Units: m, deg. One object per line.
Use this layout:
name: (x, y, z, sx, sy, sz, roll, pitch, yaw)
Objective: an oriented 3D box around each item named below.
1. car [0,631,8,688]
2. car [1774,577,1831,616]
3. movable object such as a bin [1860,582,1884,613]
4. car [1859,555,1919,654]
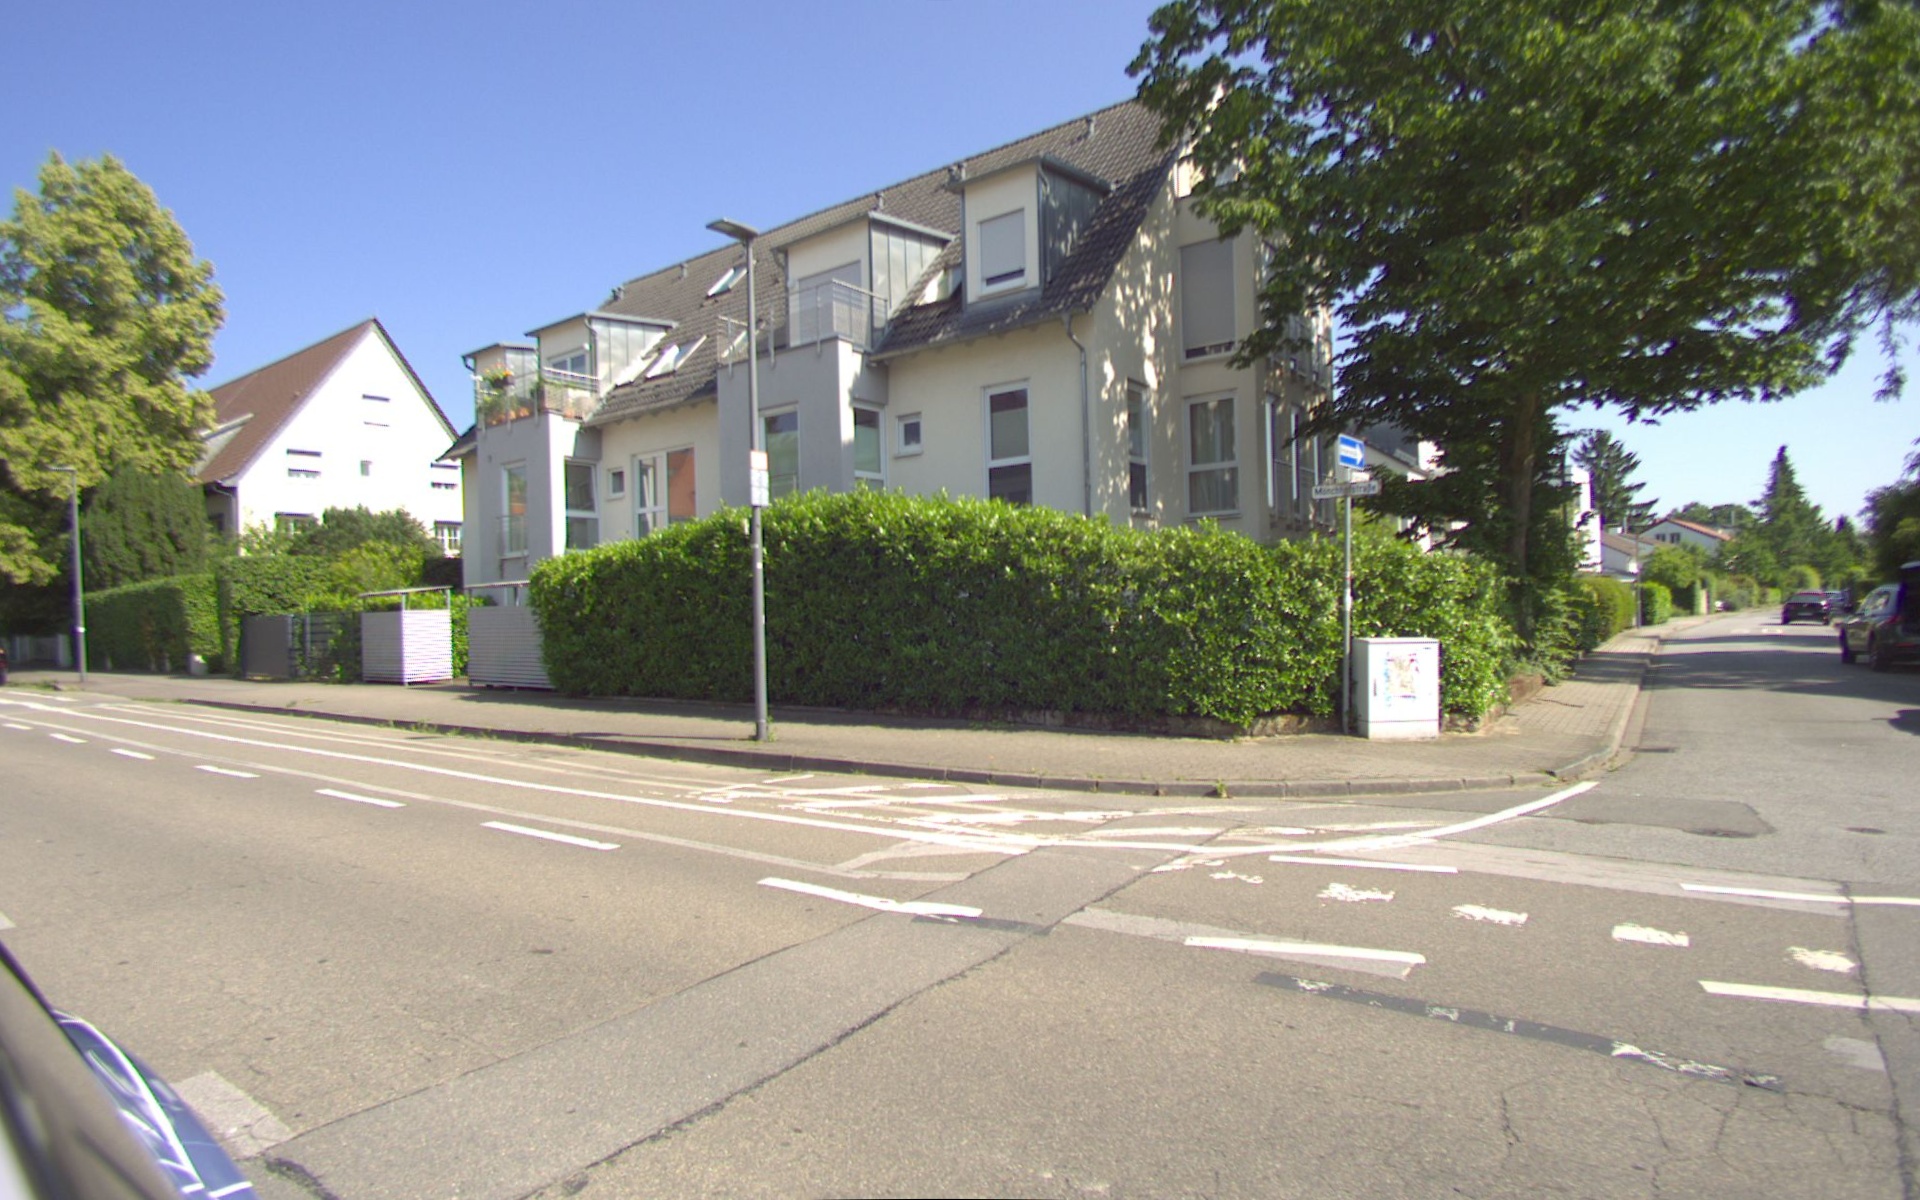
car: (-29.617, 1.770, 29.570, 4.438, 1.623, 1.834, -2, -2, 36)
car: (38.966, -0.179, 46.781, 1.916, 1.630, 3.946, -2, 0, 41)
movable object such as a bin: (35.116, -0.098, 38.962, 0.627, 1.163, 0.680, -2, 0, 44)
car: (18.327, 0.030, 19.072, 1.641, 1.758, 3.462, -2, 0, 35)
